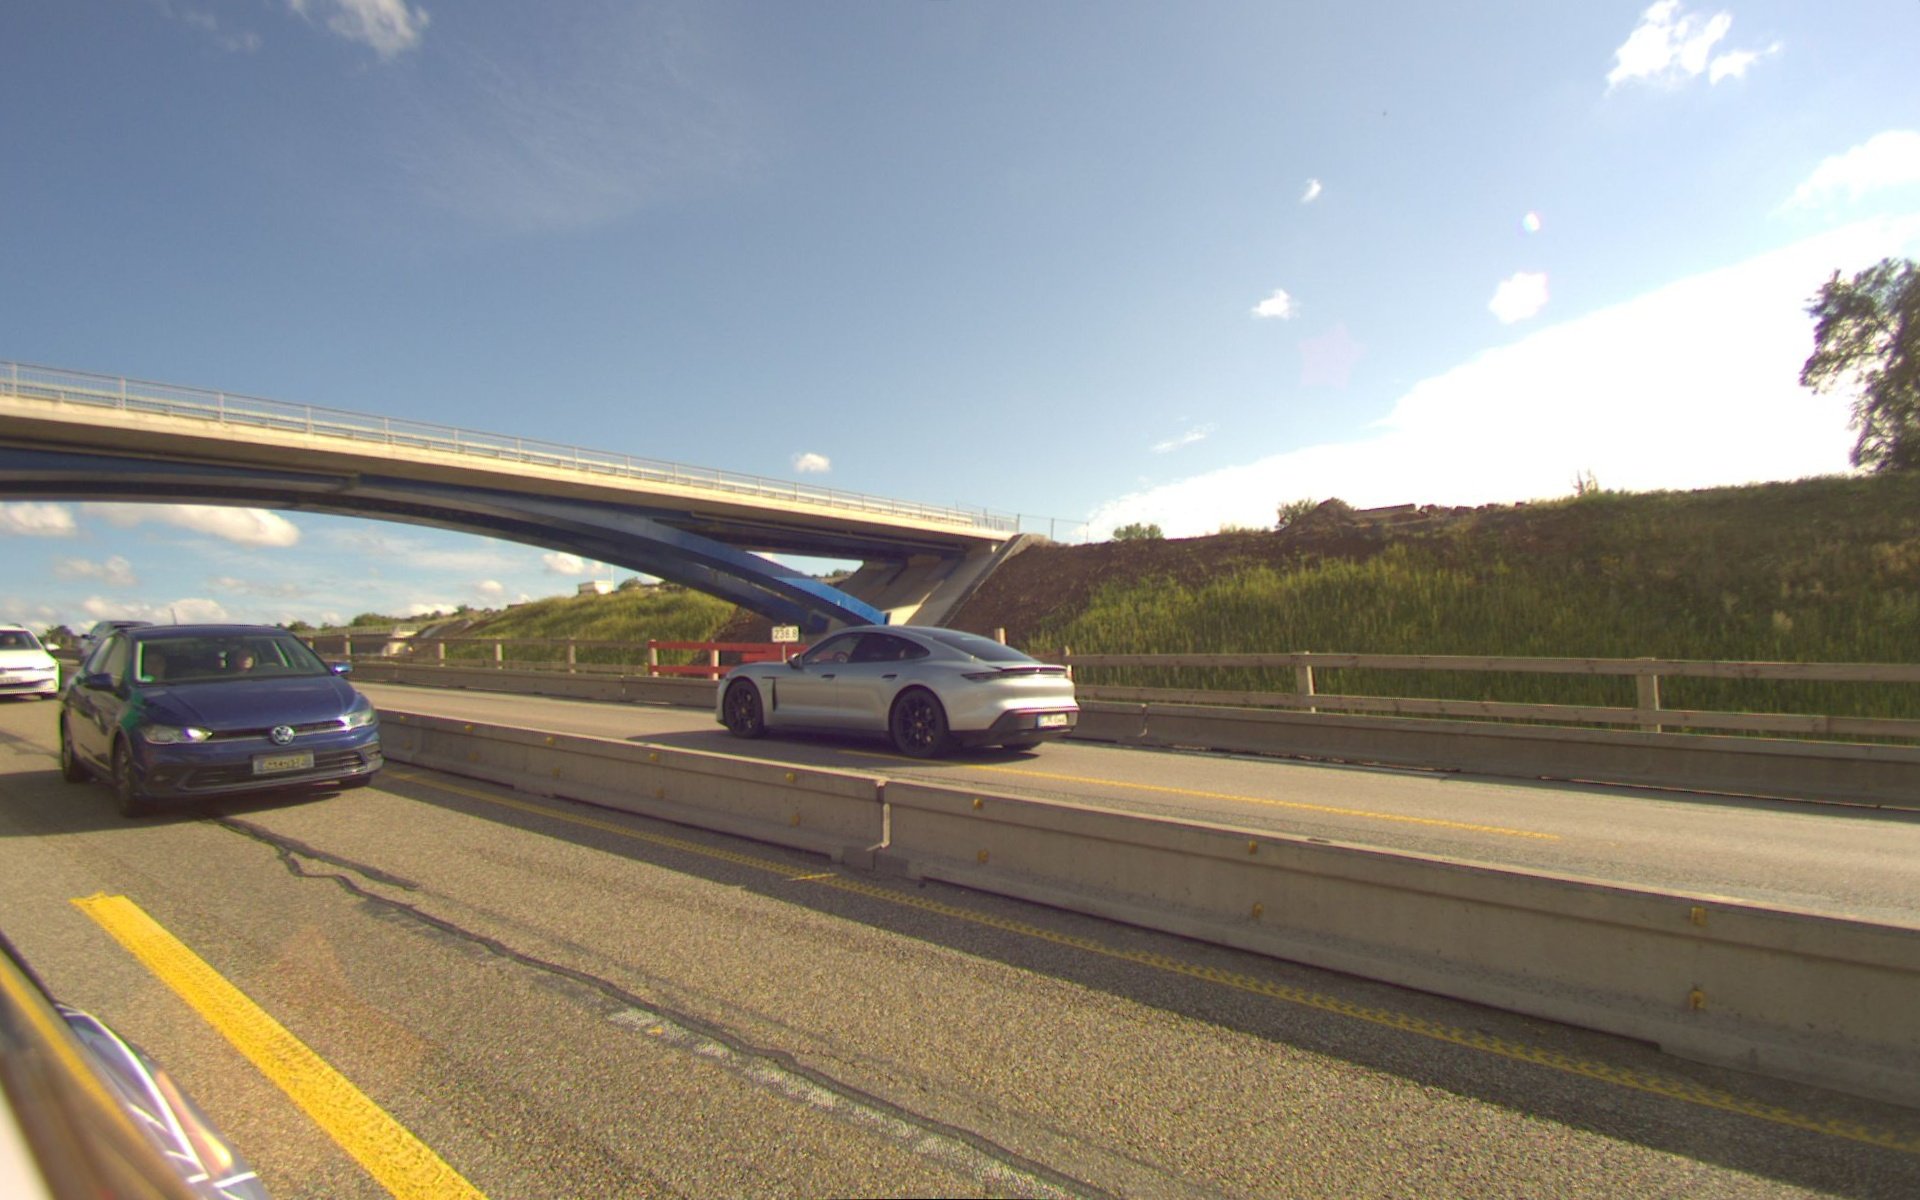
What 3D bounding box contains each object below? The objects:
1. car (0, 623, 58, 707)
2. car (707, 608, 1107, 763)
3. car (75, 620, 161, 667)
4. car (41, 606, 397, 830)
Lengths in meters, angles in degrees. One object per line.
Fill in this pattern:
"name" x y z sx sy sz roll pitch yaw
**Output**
"car" -19.010 1.218 19.586 4.372 1.507 1.802 -1 -1 41
"car" -0.762 0.875 11.559 4.624 1.436 1.716 -1 -4 40
"car" -32.400 1.690 38.908 4.213 1.672 1.716 -2 -5 39
"car" -6.628 0.846 8.886 3.998 1.519 1.697 -1 -1 41
